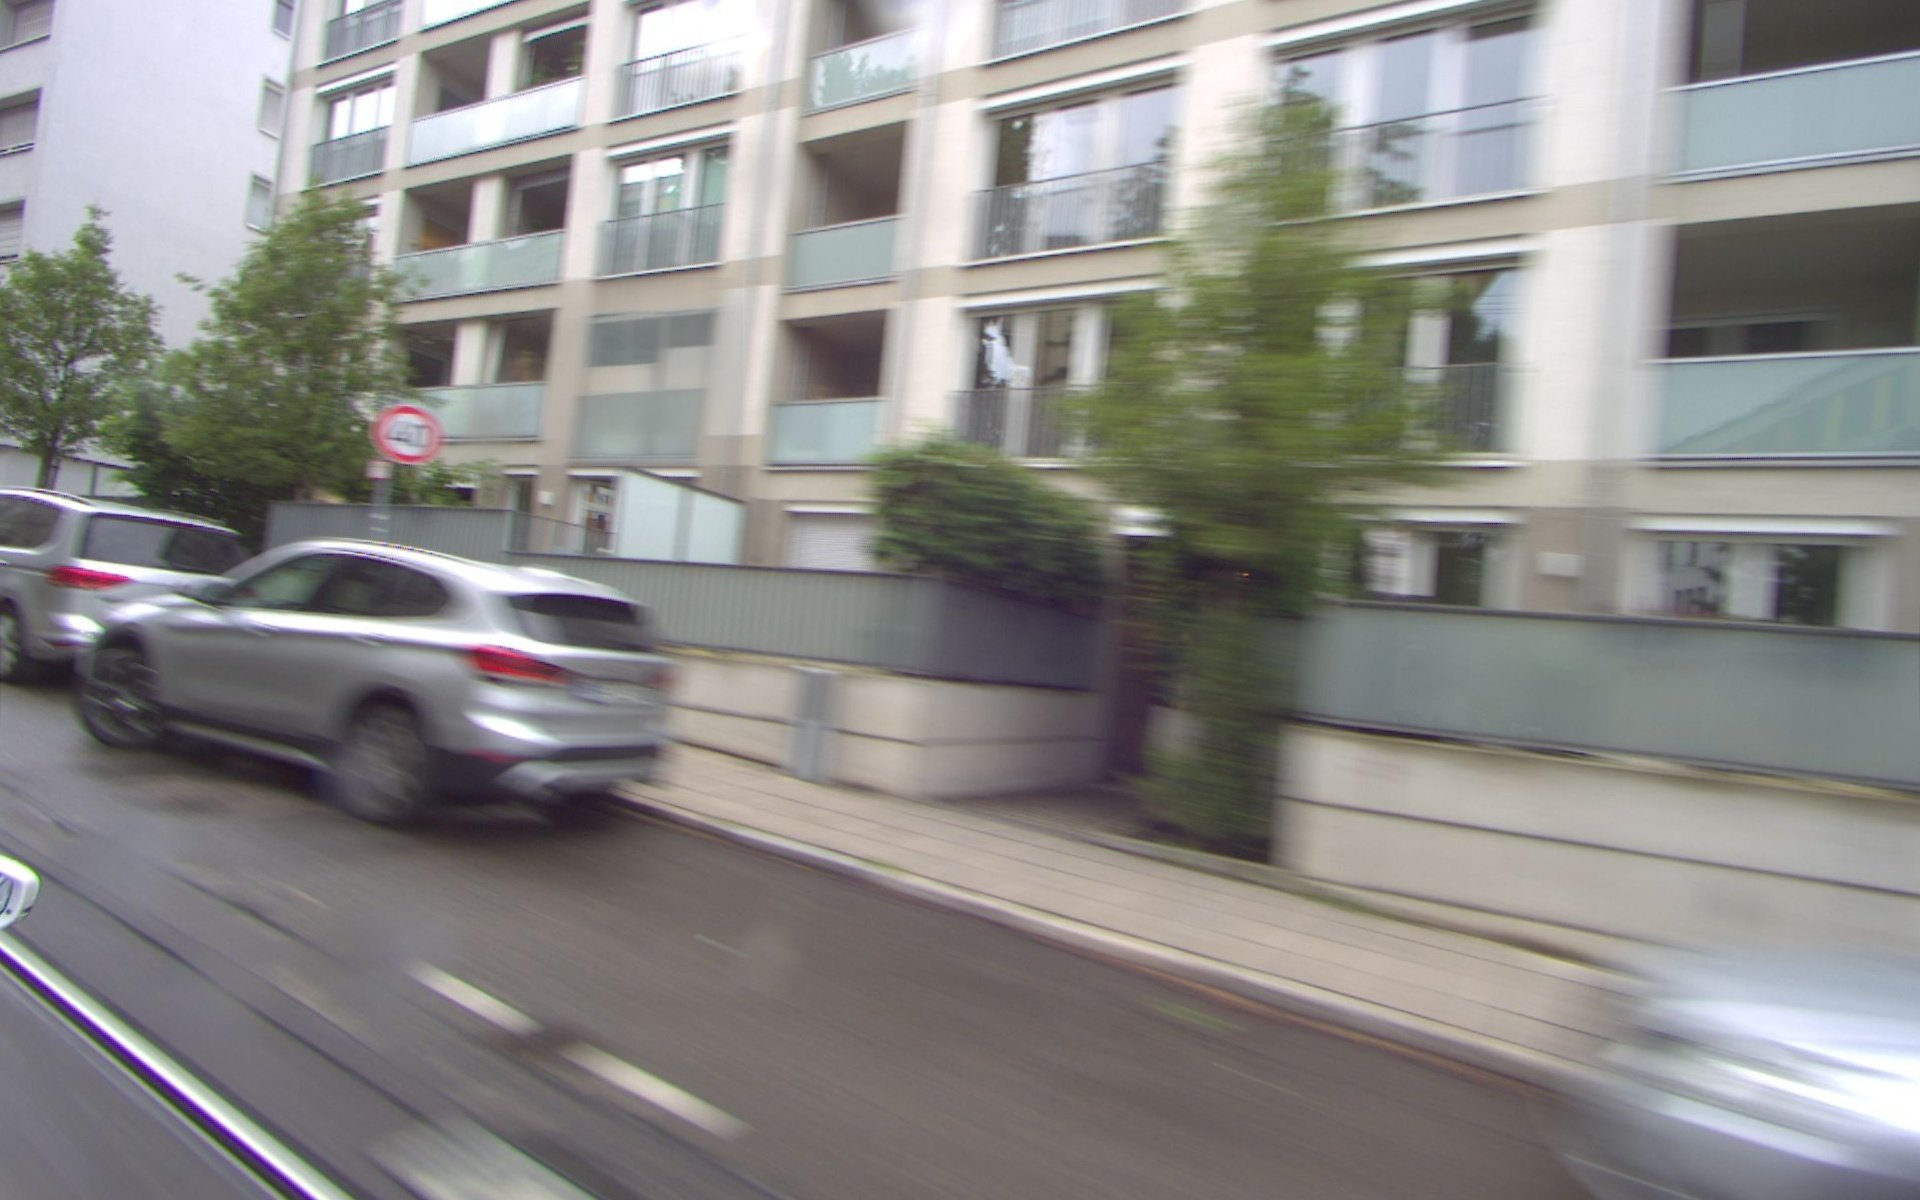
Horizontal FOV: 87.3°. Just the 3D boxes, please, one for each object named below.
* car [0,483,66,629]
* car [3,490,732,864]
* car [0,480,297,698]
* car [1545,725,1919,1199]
[{"bbox_3d":[-13.580,-0.842,12.639,4.605,1.674,1.839,7,-3,28],"label":"car"},{"bbox_3d":[-4.131,0.401,7.027,4.483,1.602,1.983,8,-2,24],"label":"car"},{"bbox_3d":[-8.965,-0.241,9.922,4.581,1.646,1.839,8,-2,26],"label":"car"},{"bbox_3d":[4.064,1.439,2.131,4.708,1.532,1.863,7,-3,30],"label":"car"}]
